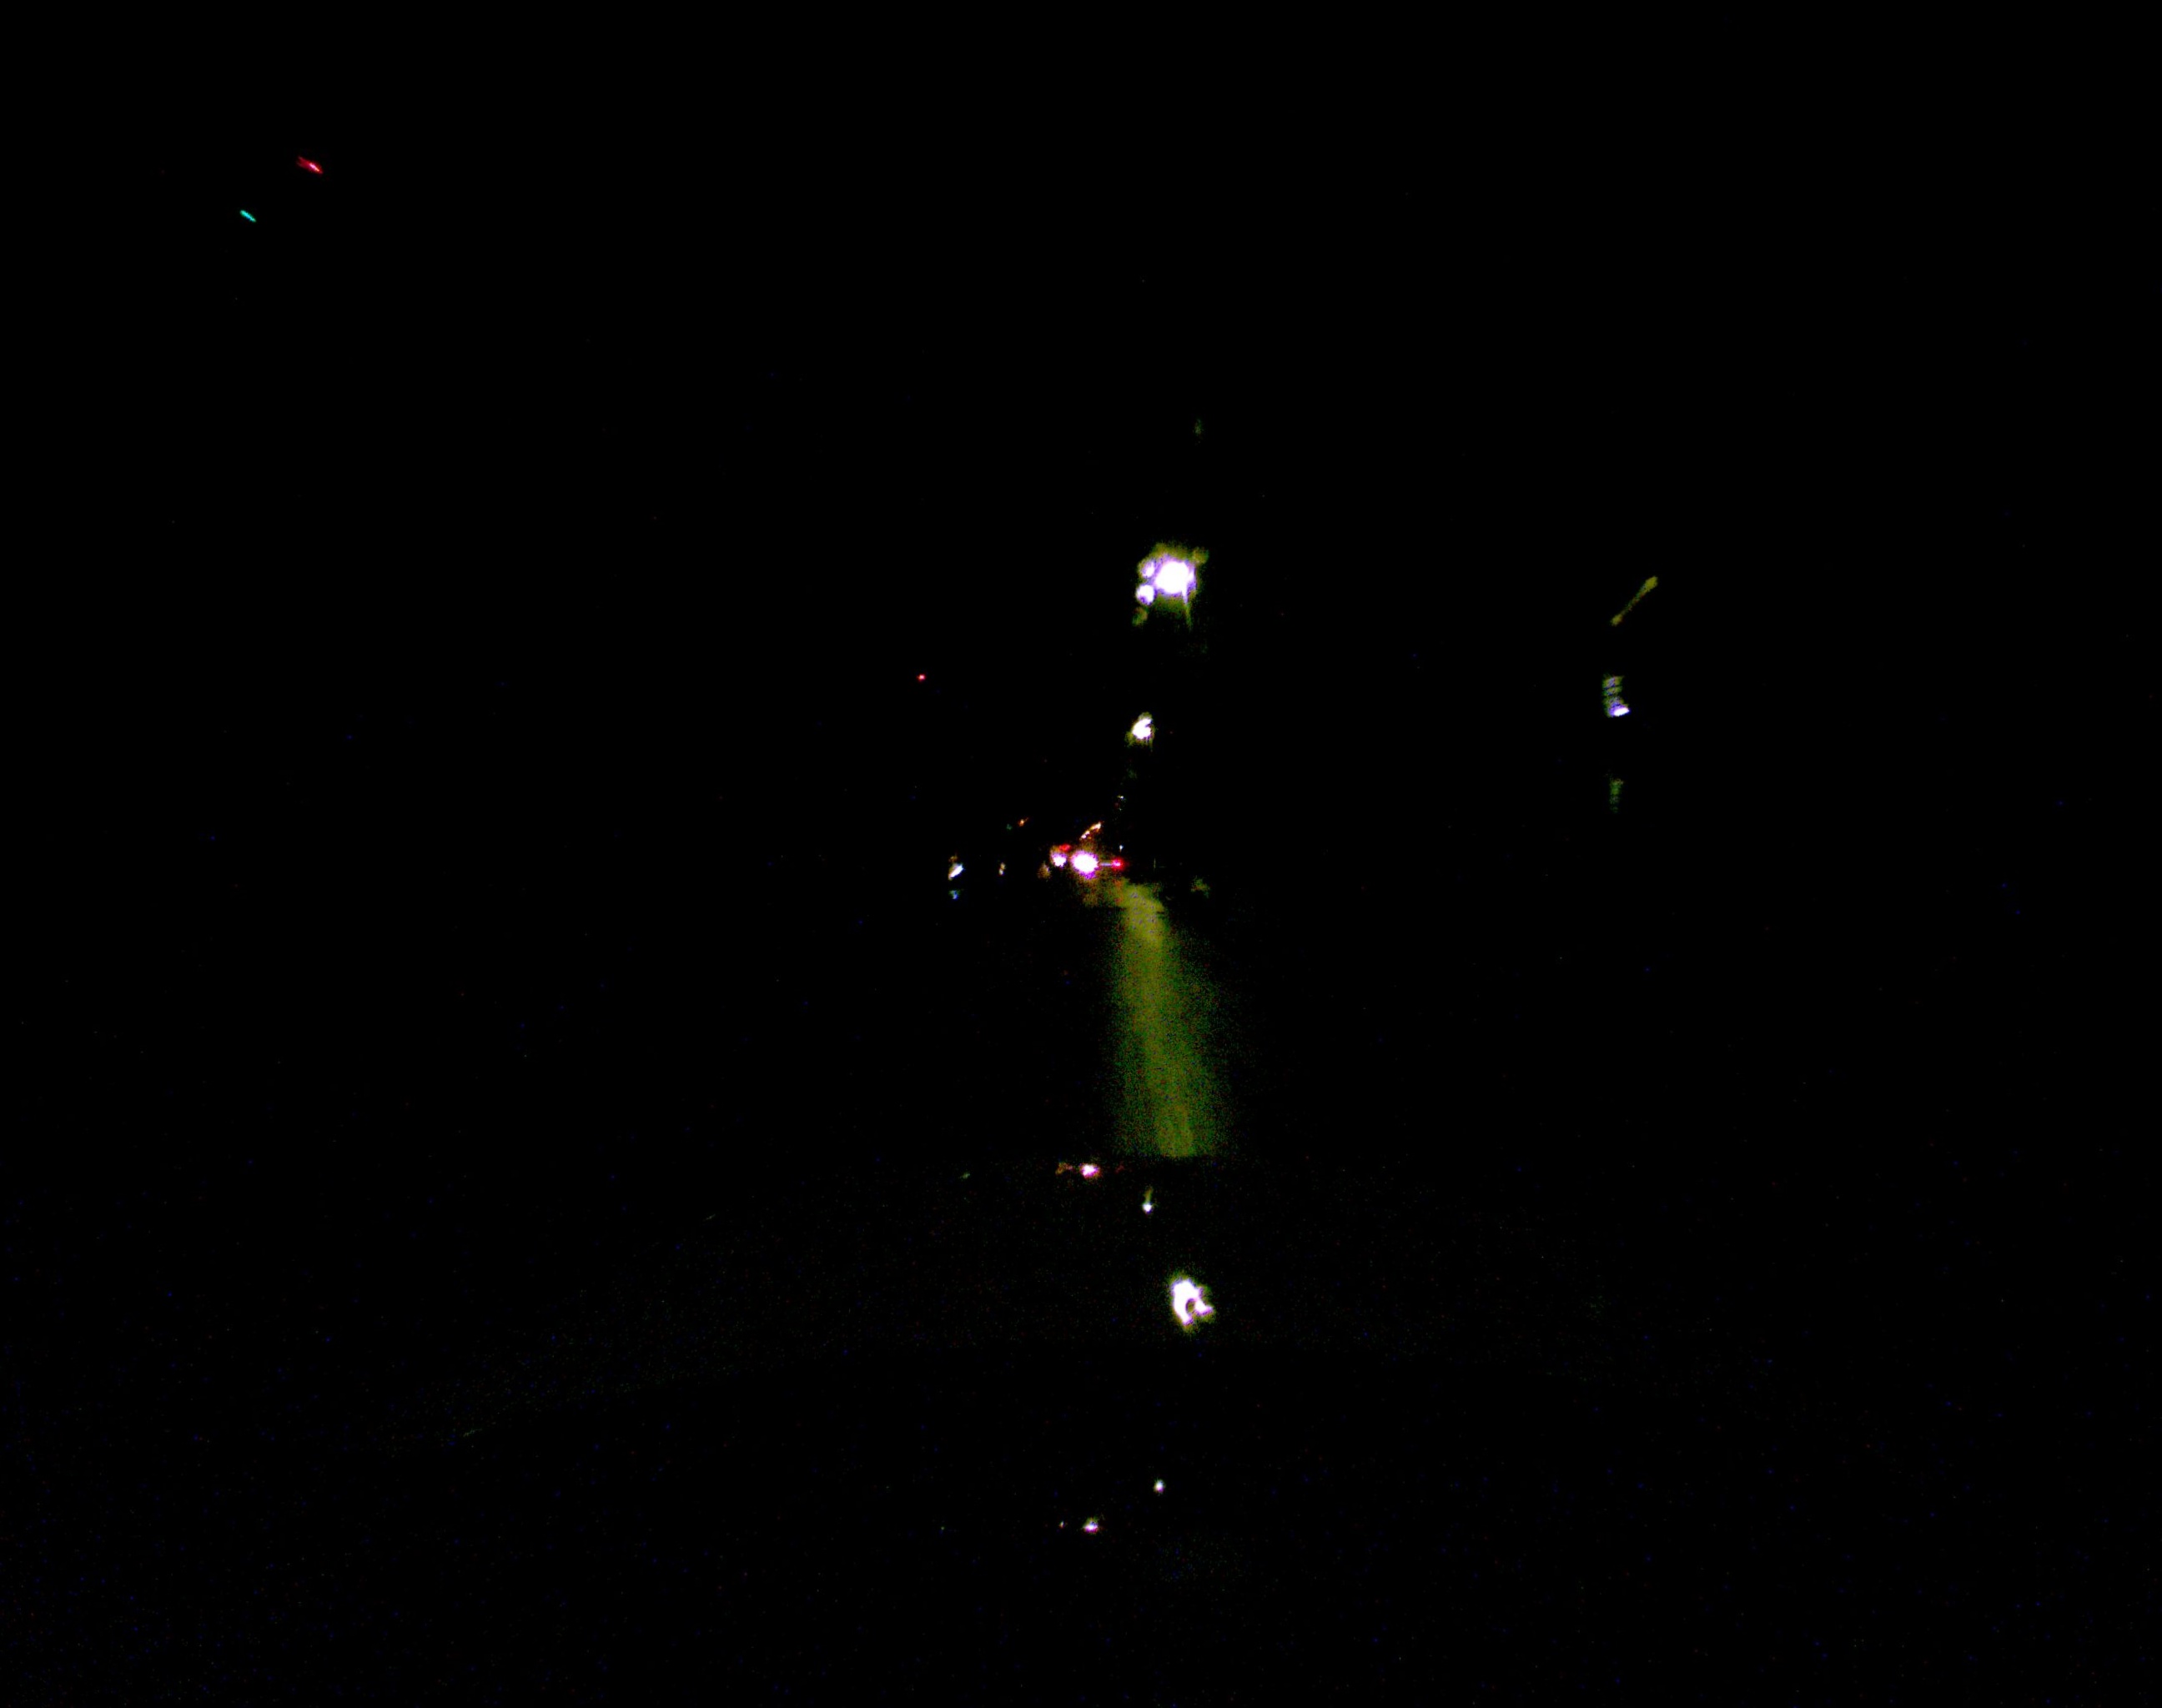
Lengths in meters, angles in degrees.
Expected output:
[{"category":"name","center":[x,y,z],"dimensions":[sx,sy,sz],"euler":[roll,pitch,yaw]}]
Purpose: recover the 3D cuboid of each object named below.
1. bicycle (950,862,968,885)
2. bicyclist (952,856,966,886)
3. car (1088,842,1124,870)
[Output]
[{"category":"bicycle","center":[-6.820,1.070,45.739],"dimensions":[0.628,1.161,2.314],"euler":[-1,1,1]},{"category":"bicyclist","center":[-6.812,0.955,45.538],"dimensions":[0.634,1.594,0.960],"euler":[-1,1,0]},{"category":"car","center":[1.555,0.143,51.633],"dimensions":[1.988,1.684,3.997],"euler":[0,0,-2]}]
